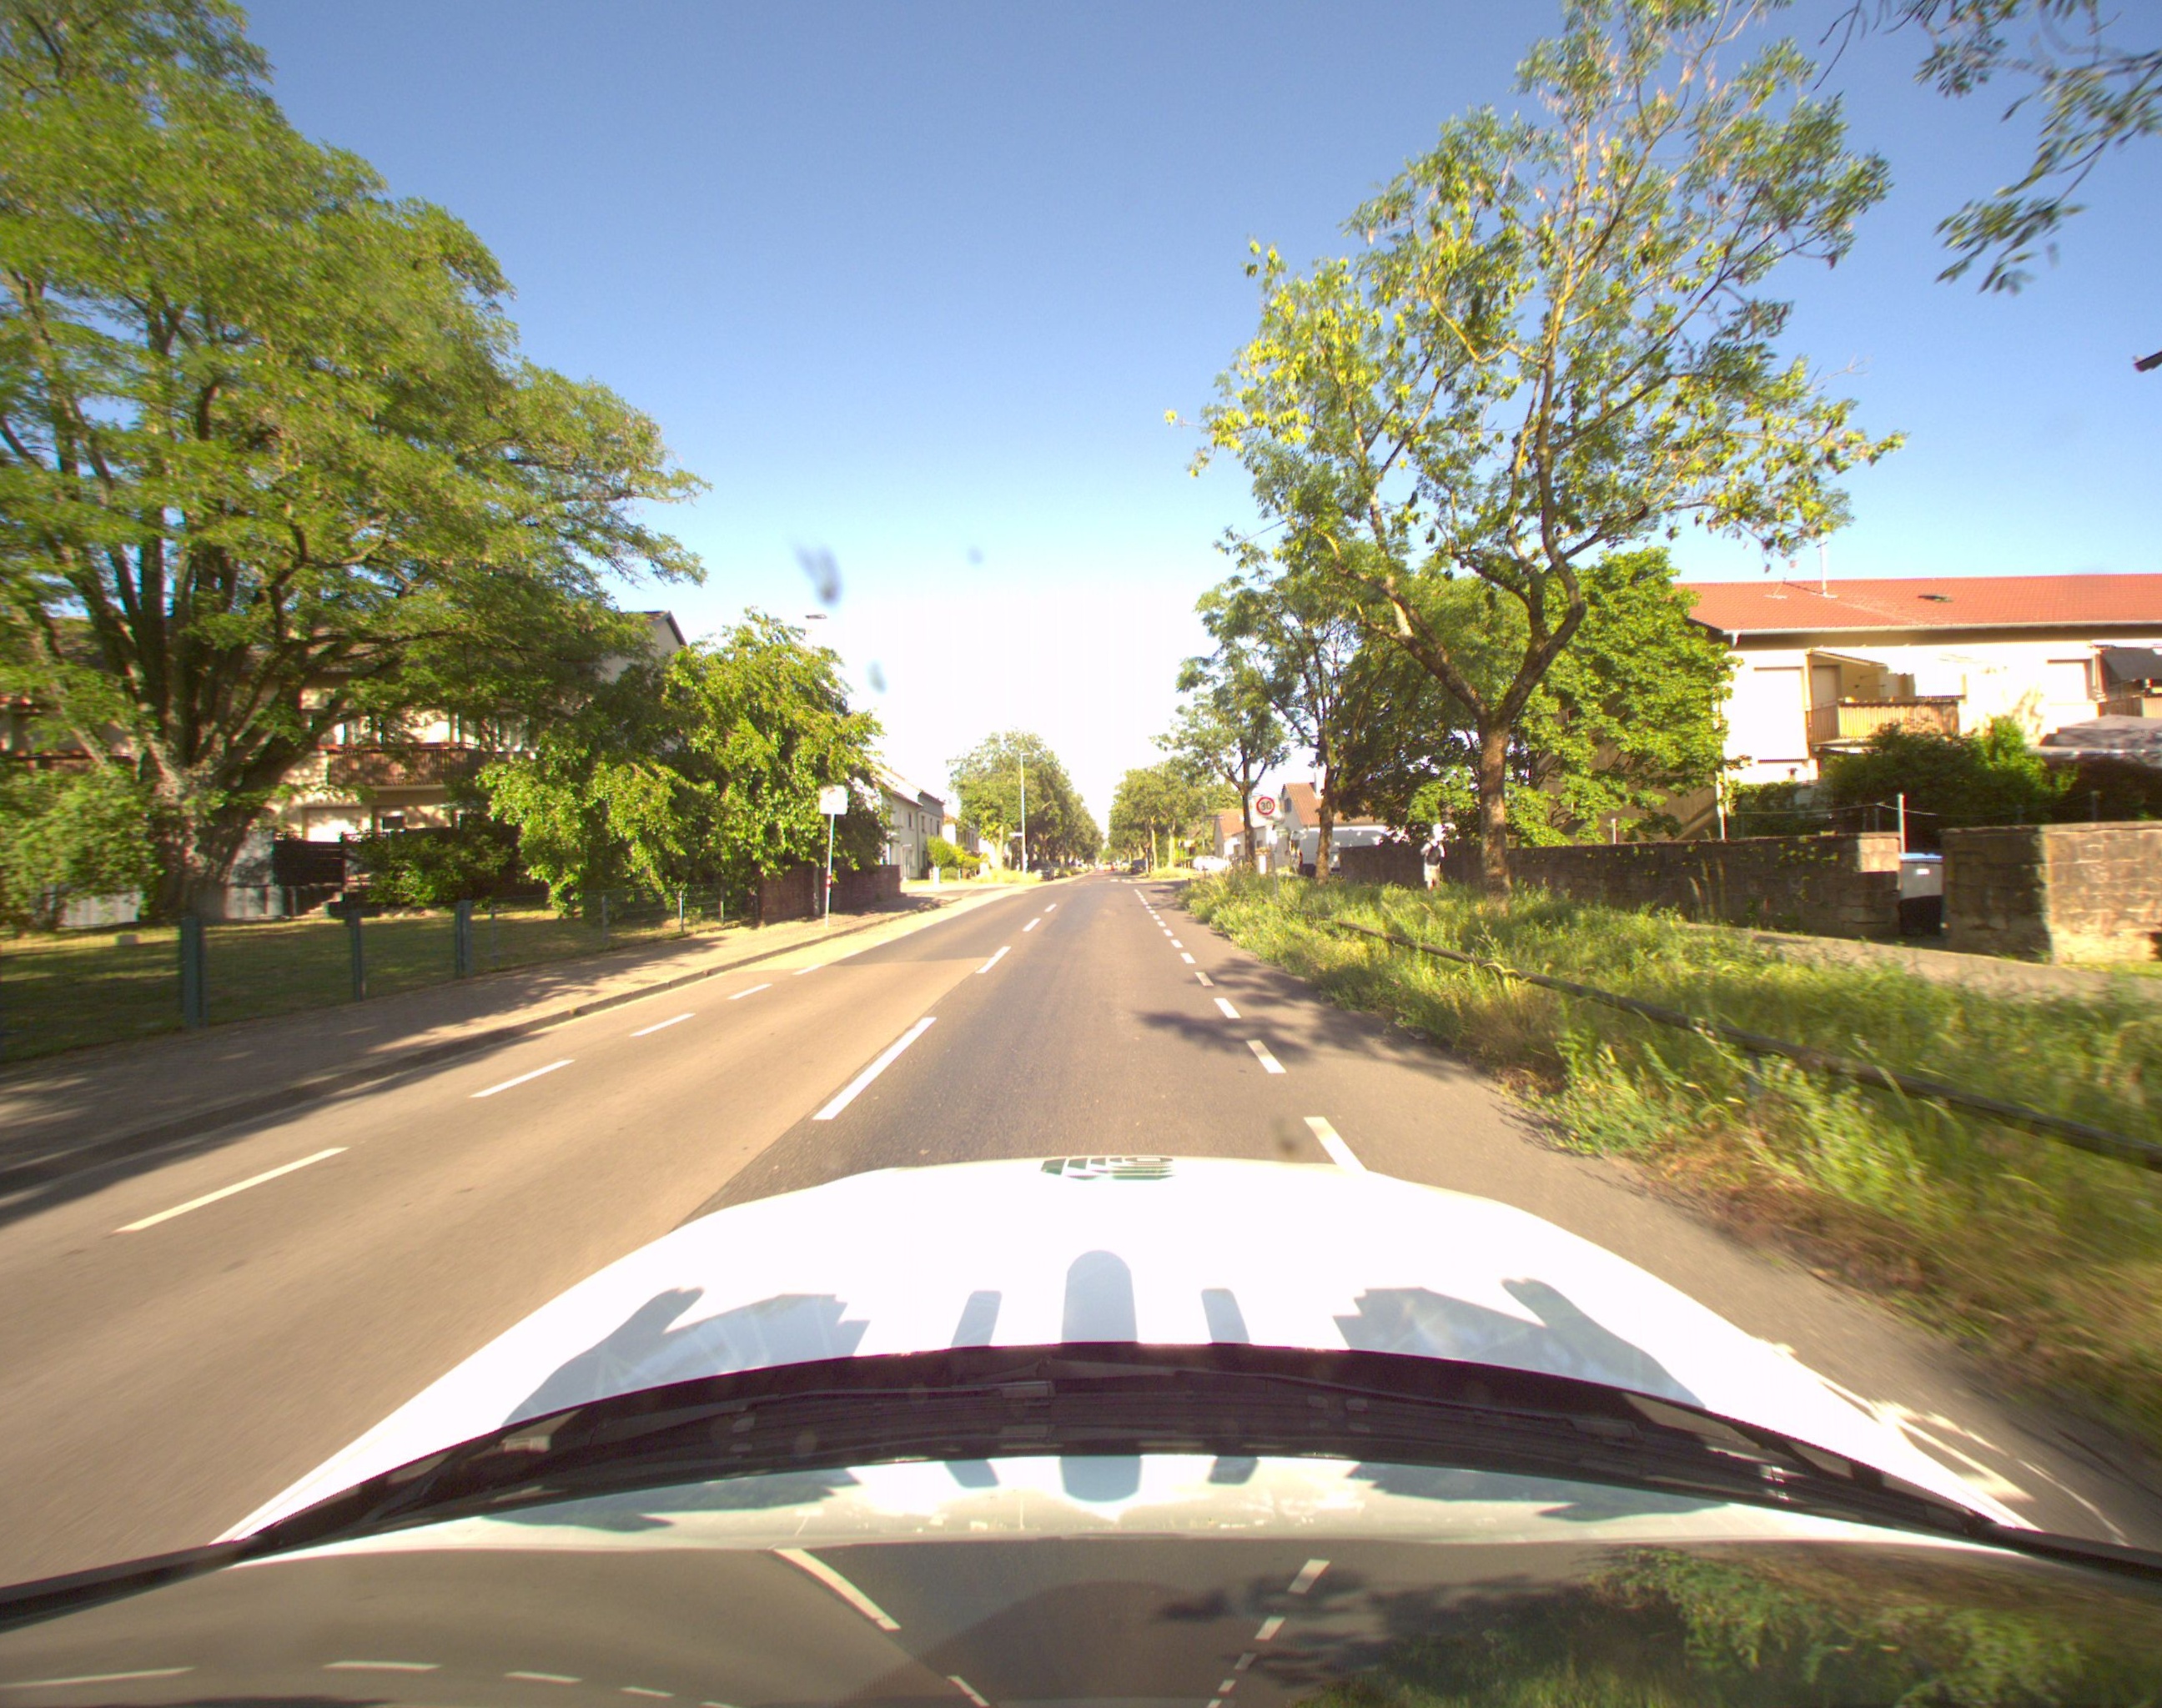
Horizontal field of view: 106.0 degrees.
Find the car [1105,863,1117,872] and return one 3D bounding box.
[{"bbox_3d":[5.065,2.261,138.633,1.882,1.479,3.887,0,-1,0],"label":"car"}]

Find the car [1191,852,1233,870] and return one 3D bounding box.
[{"bbox_3d":[13.403,0.686,83.376,3.974,1.488,1.902,-4,1,0],"label":"car"}]

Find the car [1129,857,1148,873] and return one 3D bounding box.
[{"bbox_3d":[6.451,1.223,91.692,1.846,1.626,4.470,-3,-2,2],"label":"car"}]

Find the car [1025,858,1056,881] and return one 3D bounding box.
[{"bbox_3d":[-3.166,1.251,64.481,1.945,1.727,4.878,-1,-2,3],"label":"car"}]

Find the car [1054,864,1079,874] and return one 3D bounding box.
[{"bbox_3d":[-2.585,2.658,146.081,4.535,1.765,1.998,-1,1,-3],"label":"car"}]

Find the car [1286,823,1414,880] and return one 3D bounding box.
[{"bbox_3d":[13.313,-0.107,40.547,5.578,2.539,2.265,-2,0,-1],"label":"car"}]

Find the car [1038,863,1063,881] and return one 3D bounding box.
[{"bbox_3d":[-2.793,1.684,76.086,1.931,1.609,4.386,-1,-2,3],"label":"car"}]

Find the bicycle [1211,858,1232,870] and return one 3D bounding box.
[{"bbox_3d":[13.881,0.962,80.293,1.951,0.998,0.576,-3,0,0],"label":"bicycle"}]

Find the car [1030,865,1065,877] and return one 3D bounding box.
[{"bbox_3d":[-4.459,2.306,108.601,4.538,1.511,1.842,-1,1,1],"label":"car"}]

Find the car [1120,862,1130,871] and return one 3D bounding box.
[{"bbox_3d":[8.910,2.501,164.852,1.895,1.774,4.303,-1,-1,2],"label":"car"}]

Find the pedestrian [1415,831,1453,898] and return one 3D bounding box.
[{"bbox_3d":[9.373,0.267,21.646,0.635,1.705,0.612,-4,0,0],"label":"pedestrian"}]

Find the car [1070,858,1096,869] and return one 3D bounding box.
[{"bbox_3d":[0.438,1.988,174.221,5.480,2.247,2.516,-1,1,0],"label":"car"}]
